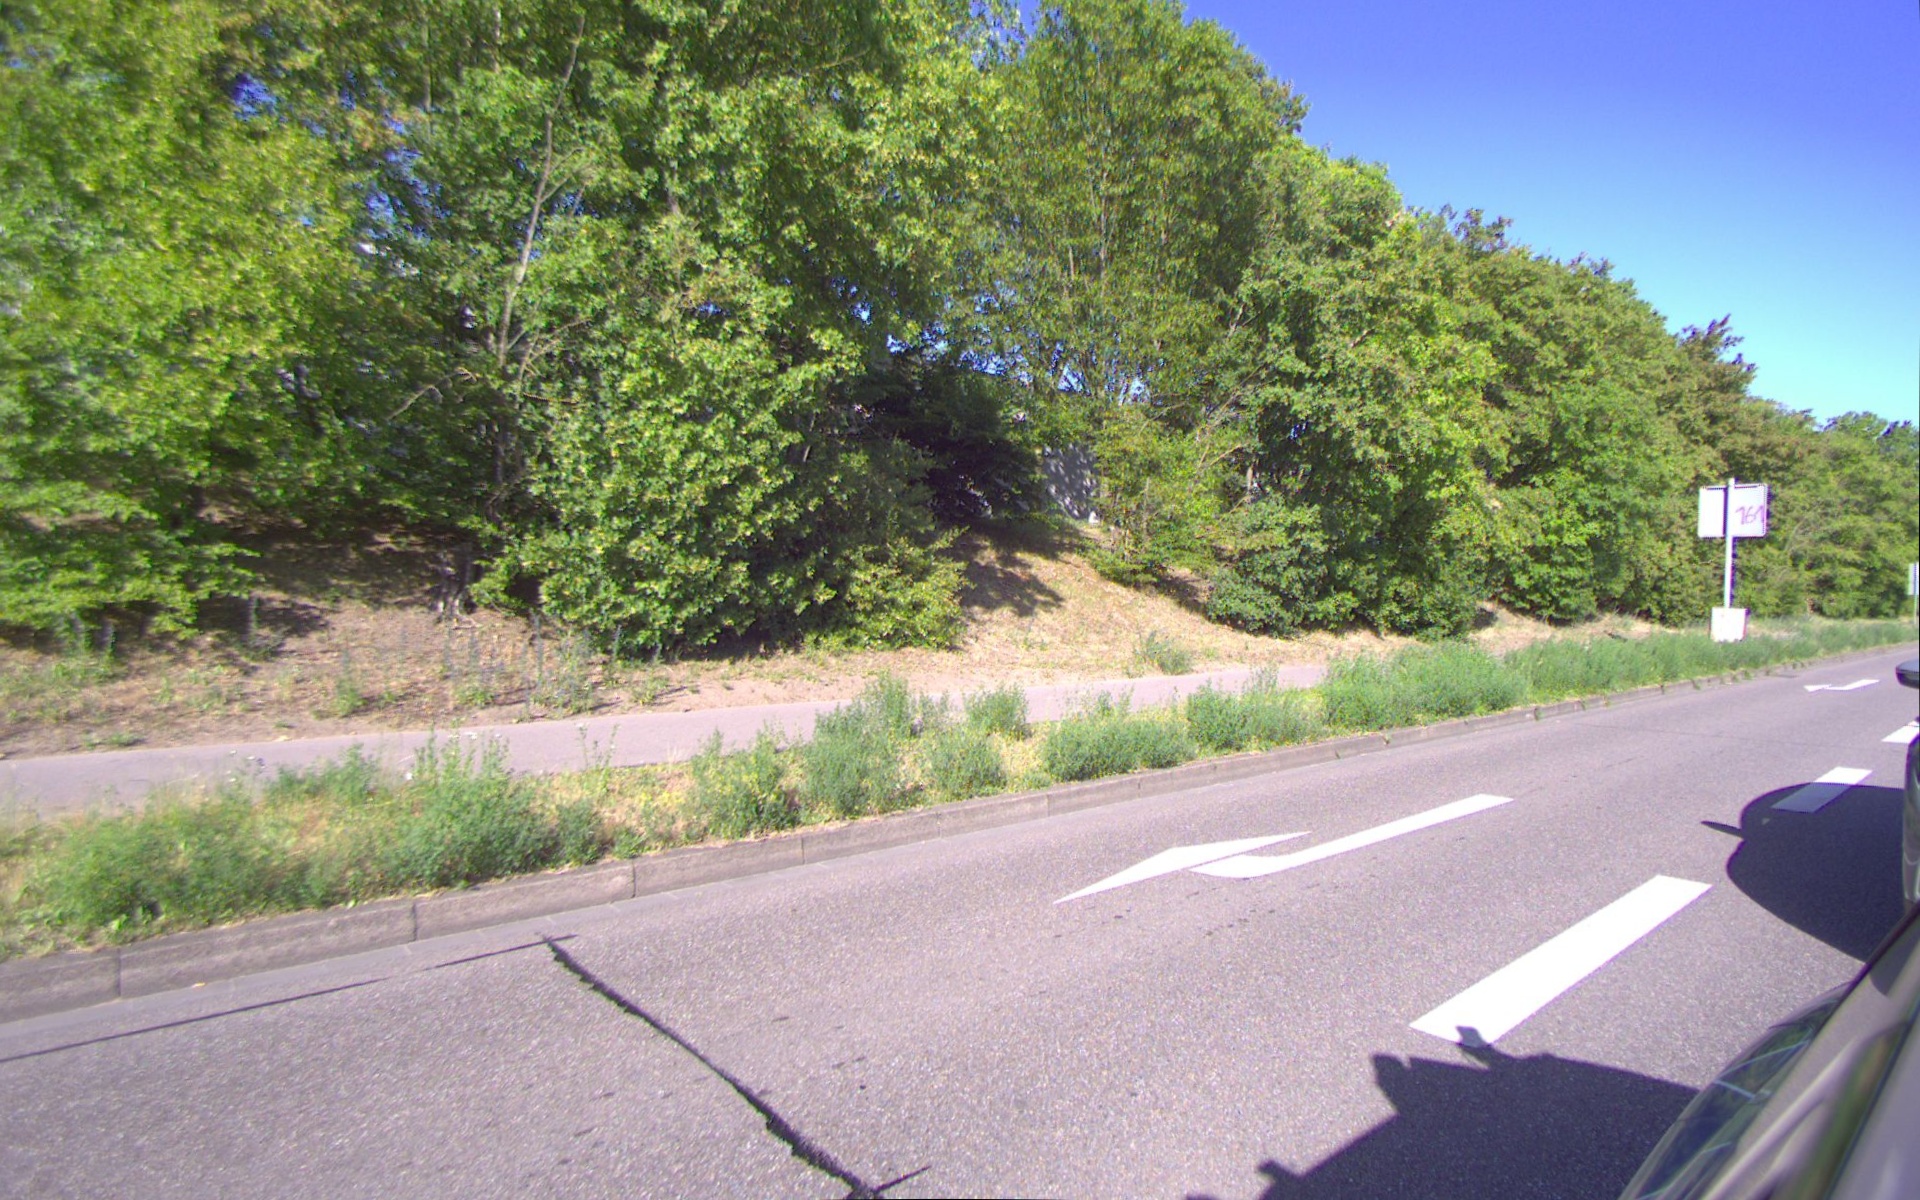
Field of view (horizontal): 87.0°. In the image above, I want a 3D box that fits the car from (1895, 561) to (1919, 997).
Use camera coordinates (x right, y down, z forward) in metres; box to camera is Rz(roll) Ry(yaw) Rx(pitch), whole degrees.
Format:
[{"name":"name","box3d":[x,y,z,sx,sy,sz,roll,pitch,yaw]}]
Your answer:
[{"name":"car","box3d":[5.709,0.660,4.519,4.327,1.603,1.860,0,0,-42]}]
